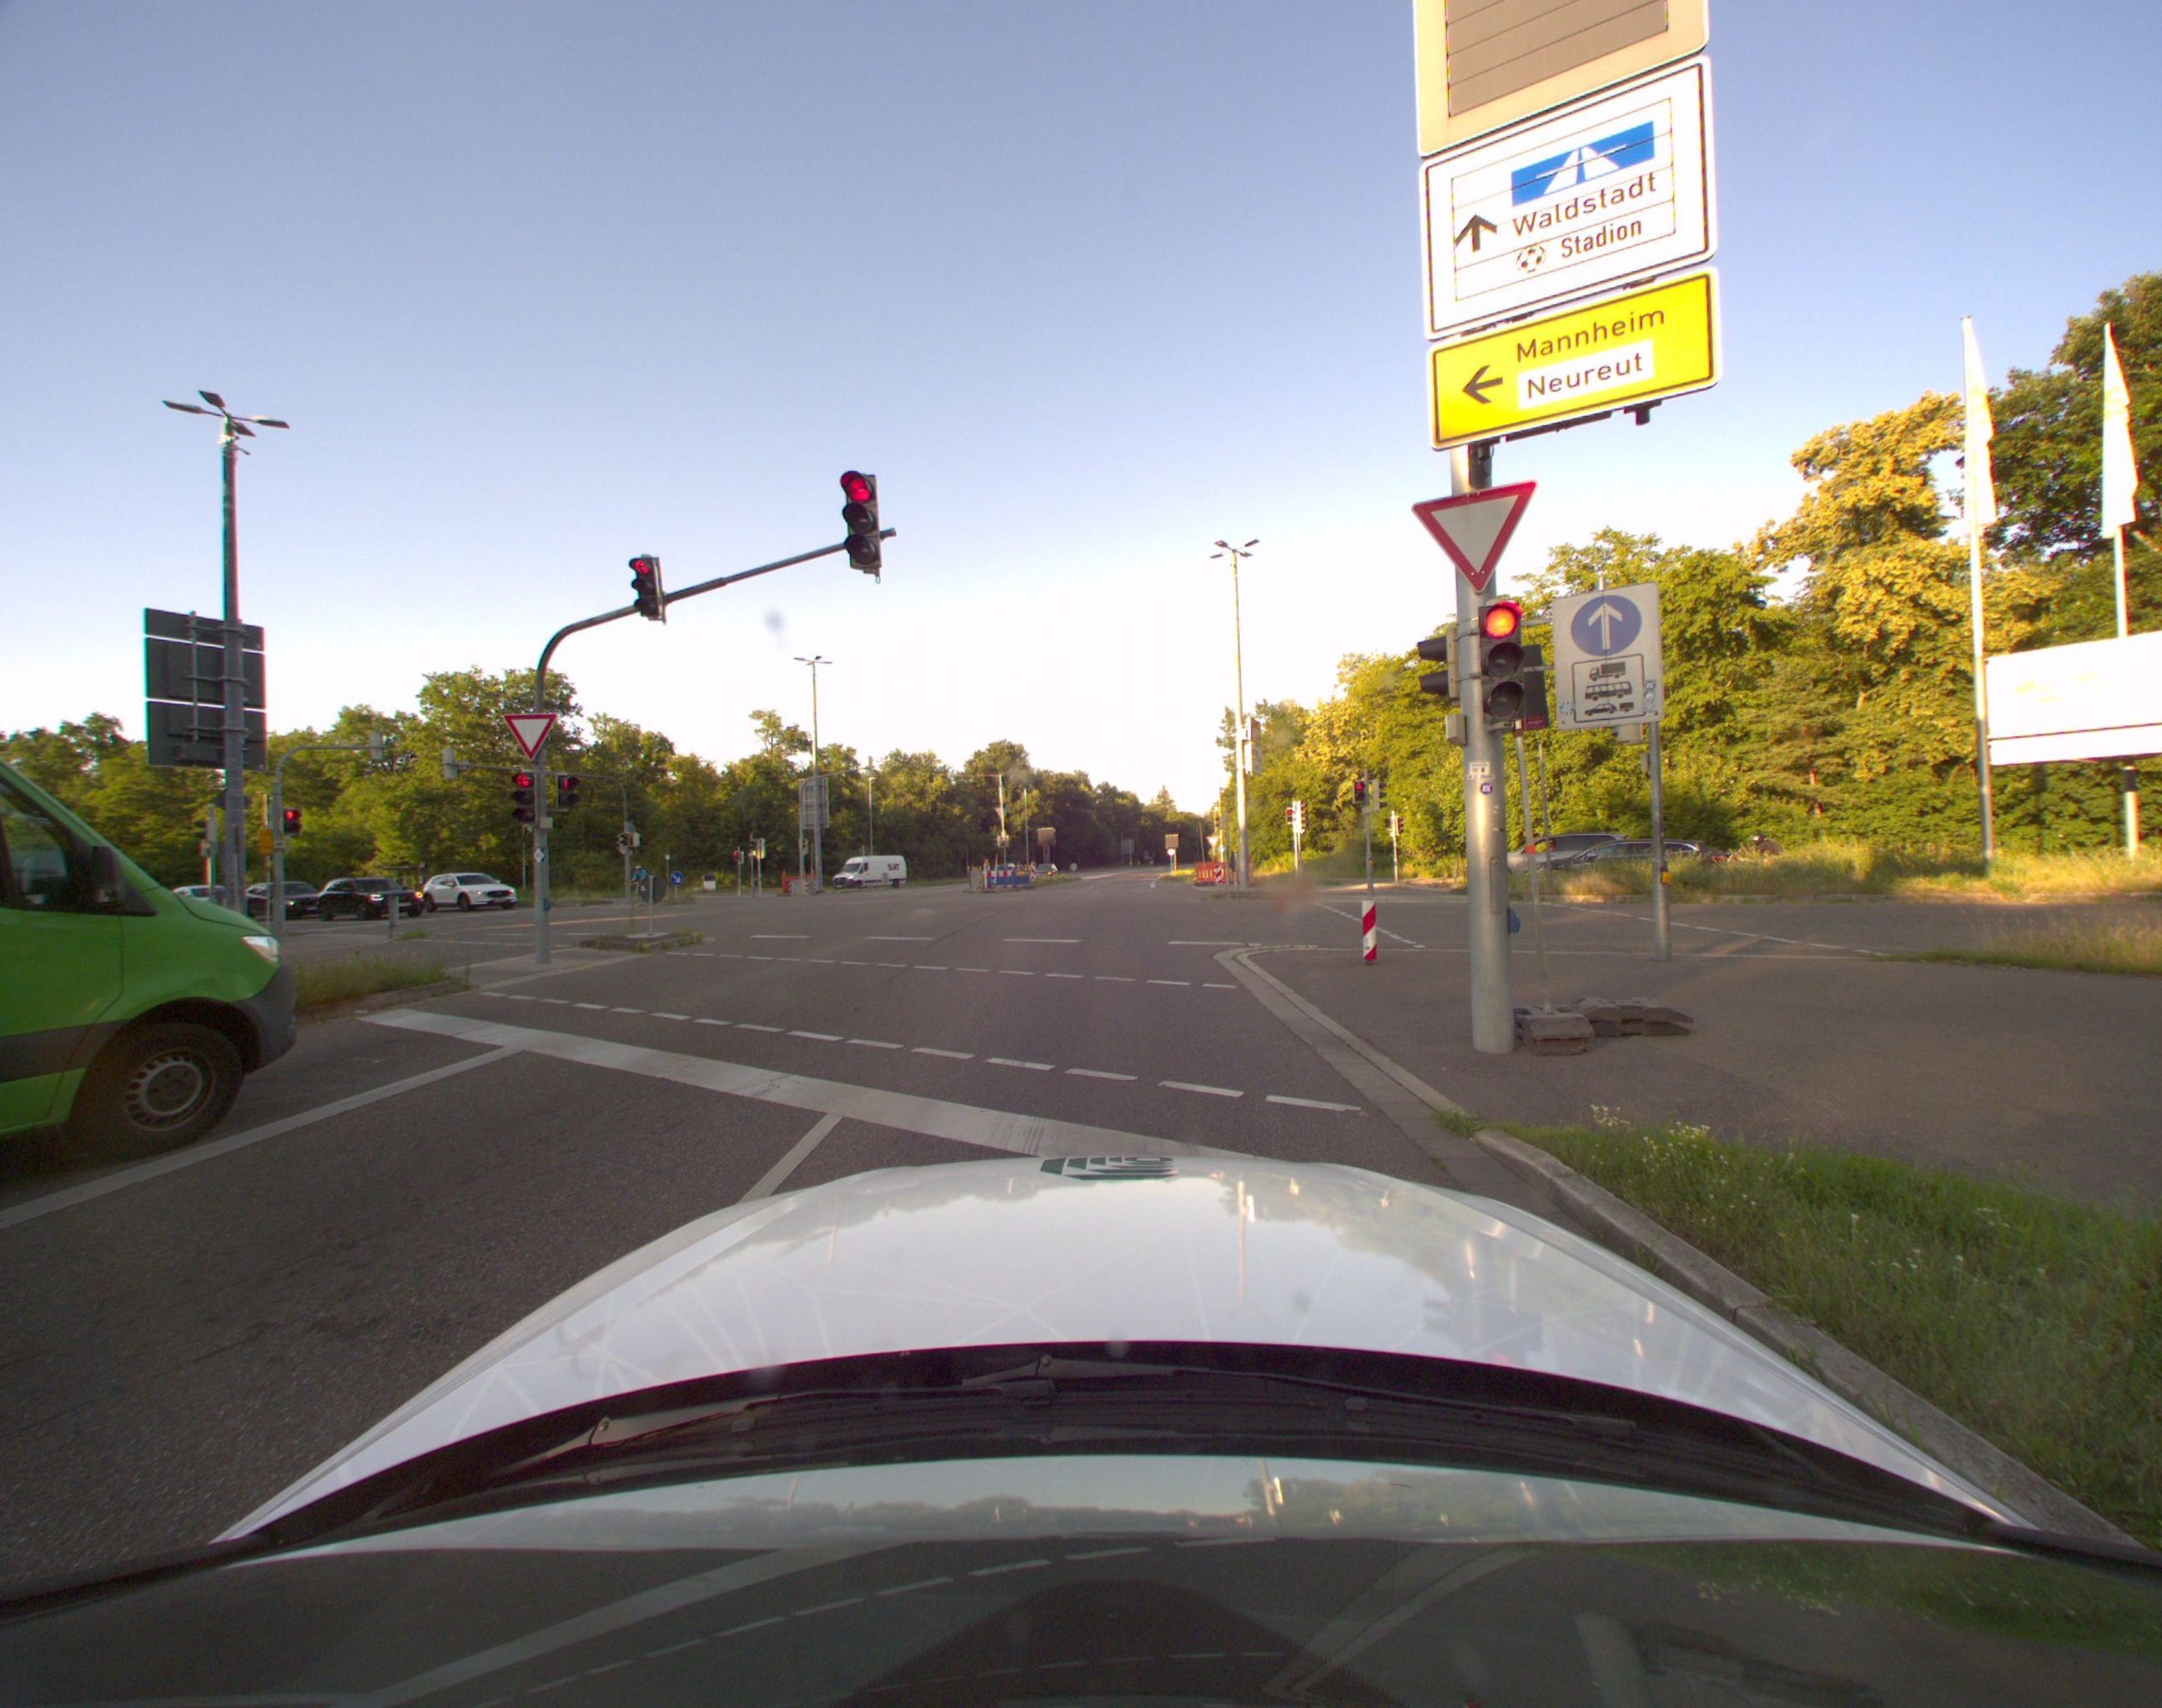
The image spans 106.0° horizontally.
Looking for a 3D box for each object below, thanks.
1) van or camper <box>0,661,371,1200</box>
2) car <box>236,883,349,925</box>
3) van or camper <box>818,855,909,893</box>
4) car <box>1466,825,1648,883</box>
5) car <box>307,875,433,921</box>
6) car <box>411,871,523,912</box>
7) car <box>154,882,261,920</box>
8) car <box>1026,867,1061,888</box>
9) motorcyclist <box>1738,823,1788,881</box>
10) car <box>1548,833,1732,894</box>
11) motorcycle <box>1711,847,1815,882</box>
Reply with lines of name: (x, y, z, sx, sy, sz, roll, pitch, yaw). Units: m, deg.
van or camper: (-5.865, 0.361, 2.564, 1.987, 2.421, 5.896, -2, 0, 1)
car: (-33.928, 2.151, 35.040, 4.205, 1.640, 2.011, -2, 0, 23)
van or camper: (-16.511, 1.462, 62.418, 2.859, 2.652, 7.162, -2, 0, 24)
car: (15.026, 0.023, 26.079, 4.773, 1.598, 2.011, -2, 0, 23)
car: (-27.557, 1.696, 31.564, 4.206, 1.640, 2.011, -2, 0, 23)
car: (-26.763, 1.638, 35.504, 4.206, 1.640, 2.011, -2, 0, 23)
car: (-41.260, 2.208, 38.481, 4.207, 1.640, 2.011, -2, 0, 21)
car: (-3.369, 2.078, 73.896, 1.979, 1.640, 4.016, -3, 0, 14)
motorcyclist: (19.208, -0.044, 22.954, 0.878, 1.595, 0.658, -2, -1, 23)
car: (14.926, 0.280, 22.009, 3.827, 1.489, 1.781, -2, 0, 24)
motorcycle: (19.186, 0.298, 22.972, 2.125, 0.910, 0.666, -2, 0, 23)
